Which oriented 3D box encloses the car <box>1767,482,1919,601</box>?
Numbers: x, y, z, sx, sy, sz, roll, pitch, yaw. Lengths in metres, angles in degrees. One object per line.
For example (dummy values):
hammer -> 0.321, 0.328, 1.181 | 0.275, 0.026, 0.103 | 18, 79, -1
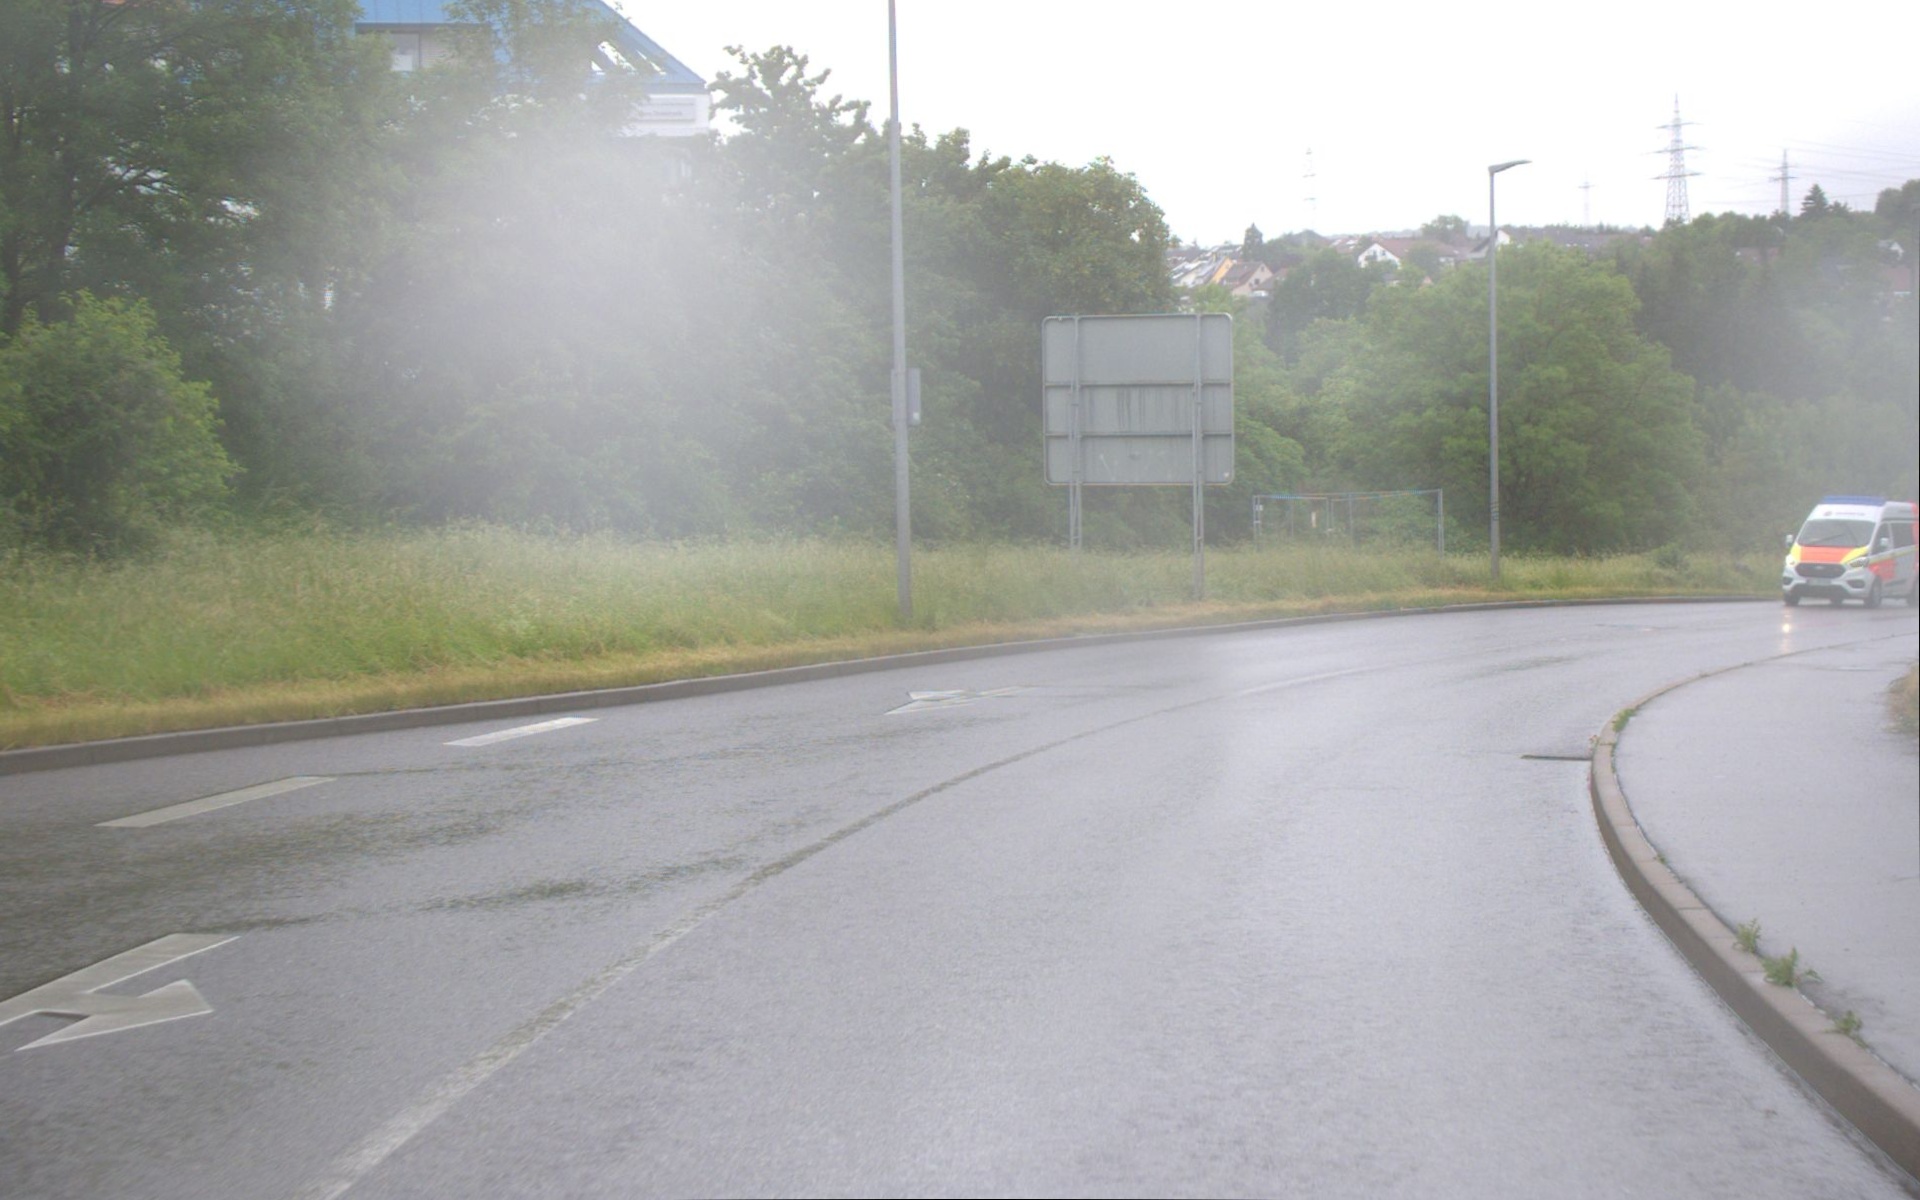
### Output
car -> 19.476, -1.240, 74.986 | 2.048, 2.409, 5.446 | 4, 2, 30
